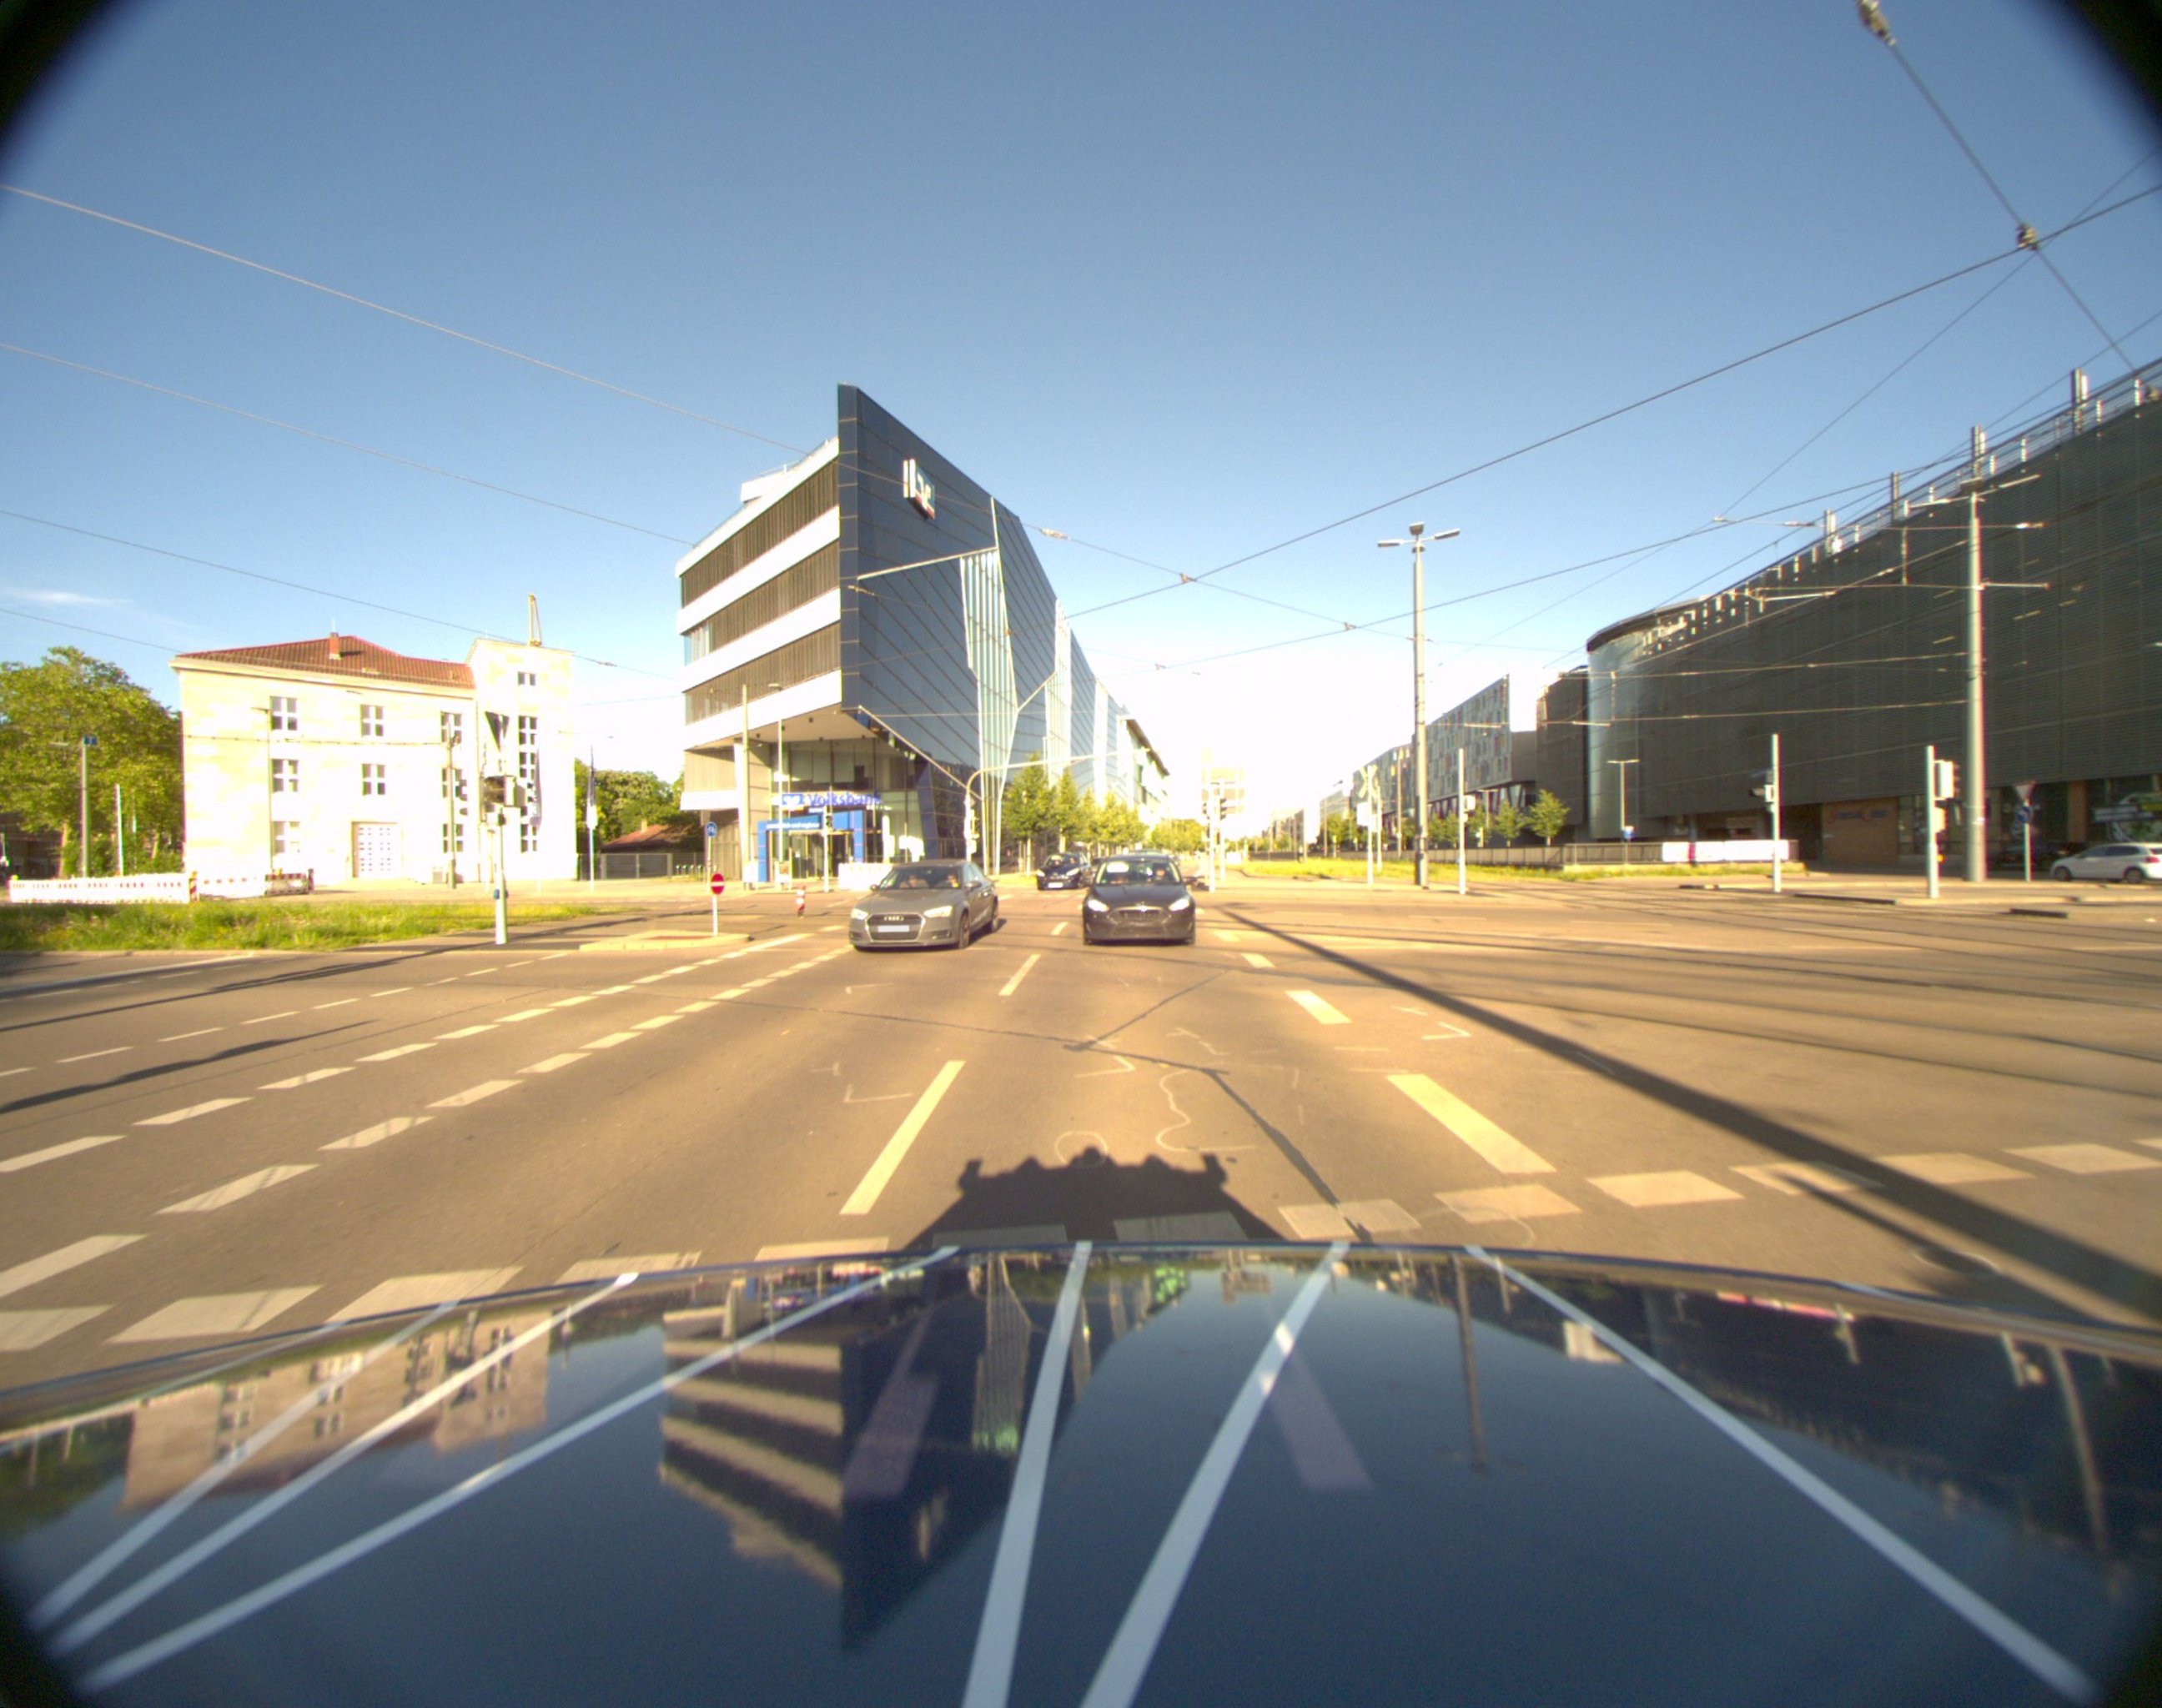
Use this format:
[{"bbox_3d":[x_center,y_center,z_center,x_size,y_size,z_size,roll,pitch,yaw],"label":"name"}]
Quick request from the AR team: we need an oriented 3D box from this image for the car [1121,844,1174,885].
[{"bbox_3d":[2.635,0.389,30.807,1.749,1.496,3.880,-2,1,0],"label":"car"}]

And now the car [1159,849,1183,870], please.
[{"bbox_3d":[6.584,0.392,55.584,1.619,1.421,3.769,-1,1,8],"label":"car"}]

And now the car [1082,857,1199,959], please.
[{"bbox_3d":[0.969,0.811,13.264,1.689,1.425,4.153,-1,0,3],"label":"car"}]

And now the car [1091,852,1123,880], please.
[{"bbox_3d":[1.497,0.631,42.143,1.438,1.437,4.002,-1,0,6],"label":"car"}]

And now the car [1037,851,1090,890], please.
[{"bbox_3d":[-0.656,0.619,30.740,1.735,1.437,4.001,-1,0,4],"label":"car"}]

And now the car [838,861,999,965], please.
[{"bbox_3d":[-2.594,0.886,13.154,1.714,1.433,4.111,-1,0,3],"label":"car"}]

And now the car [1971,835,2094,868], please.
[{"bbox_3d":[46.983,-0.151,37.643,1.583,1.521,3.752,-2,1,6],"label":"car"}]

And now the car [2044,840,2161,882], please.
[{"bbox_3d":[36.884,0.218,26.861,1.689,1.364,3.594,-1,1,15],"label":"car"}]
